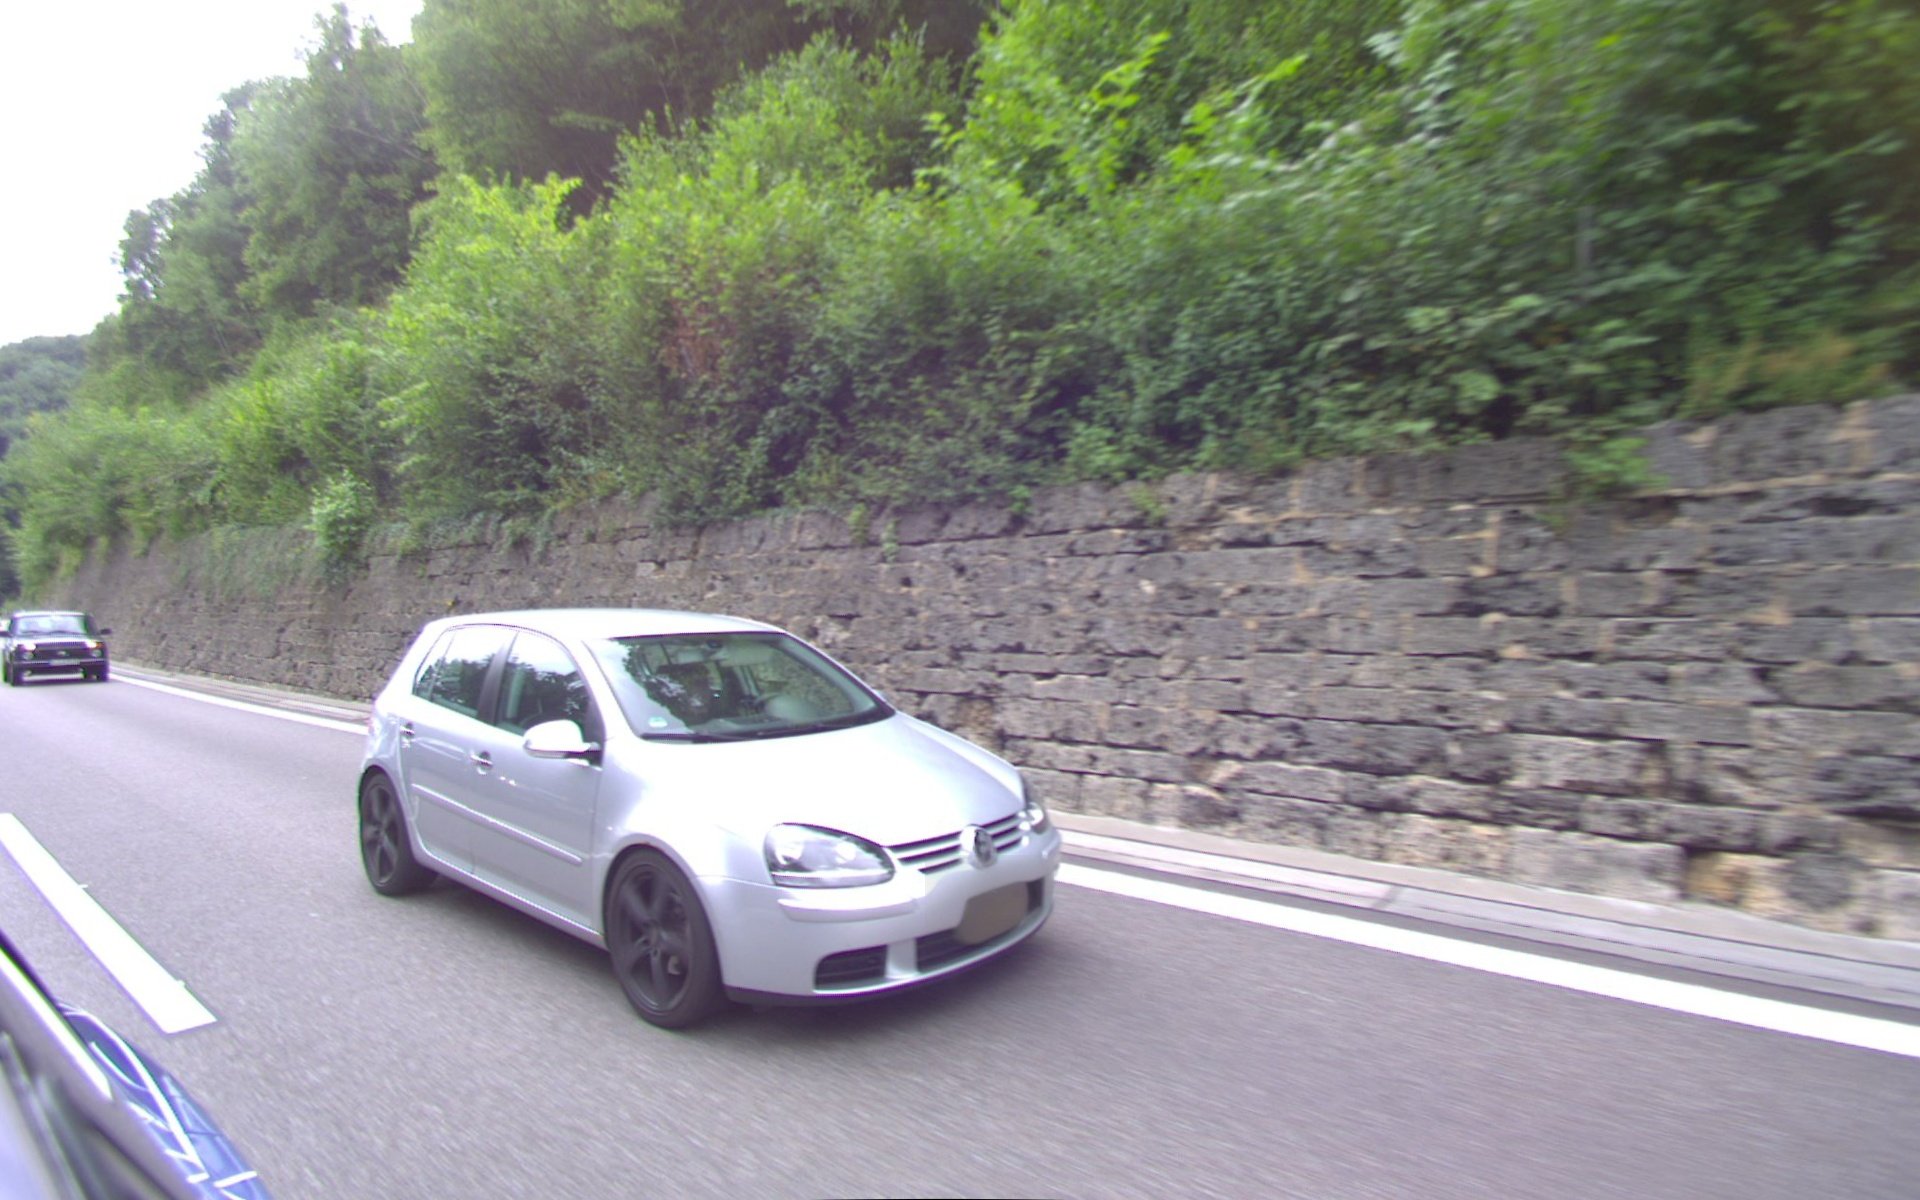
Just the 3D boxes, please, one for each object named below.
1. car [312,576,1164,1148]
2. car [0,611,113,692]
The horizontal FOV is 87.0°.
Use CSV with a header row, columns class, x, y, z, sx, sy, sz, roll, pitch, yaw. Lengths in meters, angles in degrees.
class,x,y,z,sx,sy,sz,roll,pitch,yaw
car,-1.462,0.721,4.875,4.583,1.526,1.663,-1,0,43
car,-21.131,1.122,23.451,4.584,1.668,1.788,-1,0,44
